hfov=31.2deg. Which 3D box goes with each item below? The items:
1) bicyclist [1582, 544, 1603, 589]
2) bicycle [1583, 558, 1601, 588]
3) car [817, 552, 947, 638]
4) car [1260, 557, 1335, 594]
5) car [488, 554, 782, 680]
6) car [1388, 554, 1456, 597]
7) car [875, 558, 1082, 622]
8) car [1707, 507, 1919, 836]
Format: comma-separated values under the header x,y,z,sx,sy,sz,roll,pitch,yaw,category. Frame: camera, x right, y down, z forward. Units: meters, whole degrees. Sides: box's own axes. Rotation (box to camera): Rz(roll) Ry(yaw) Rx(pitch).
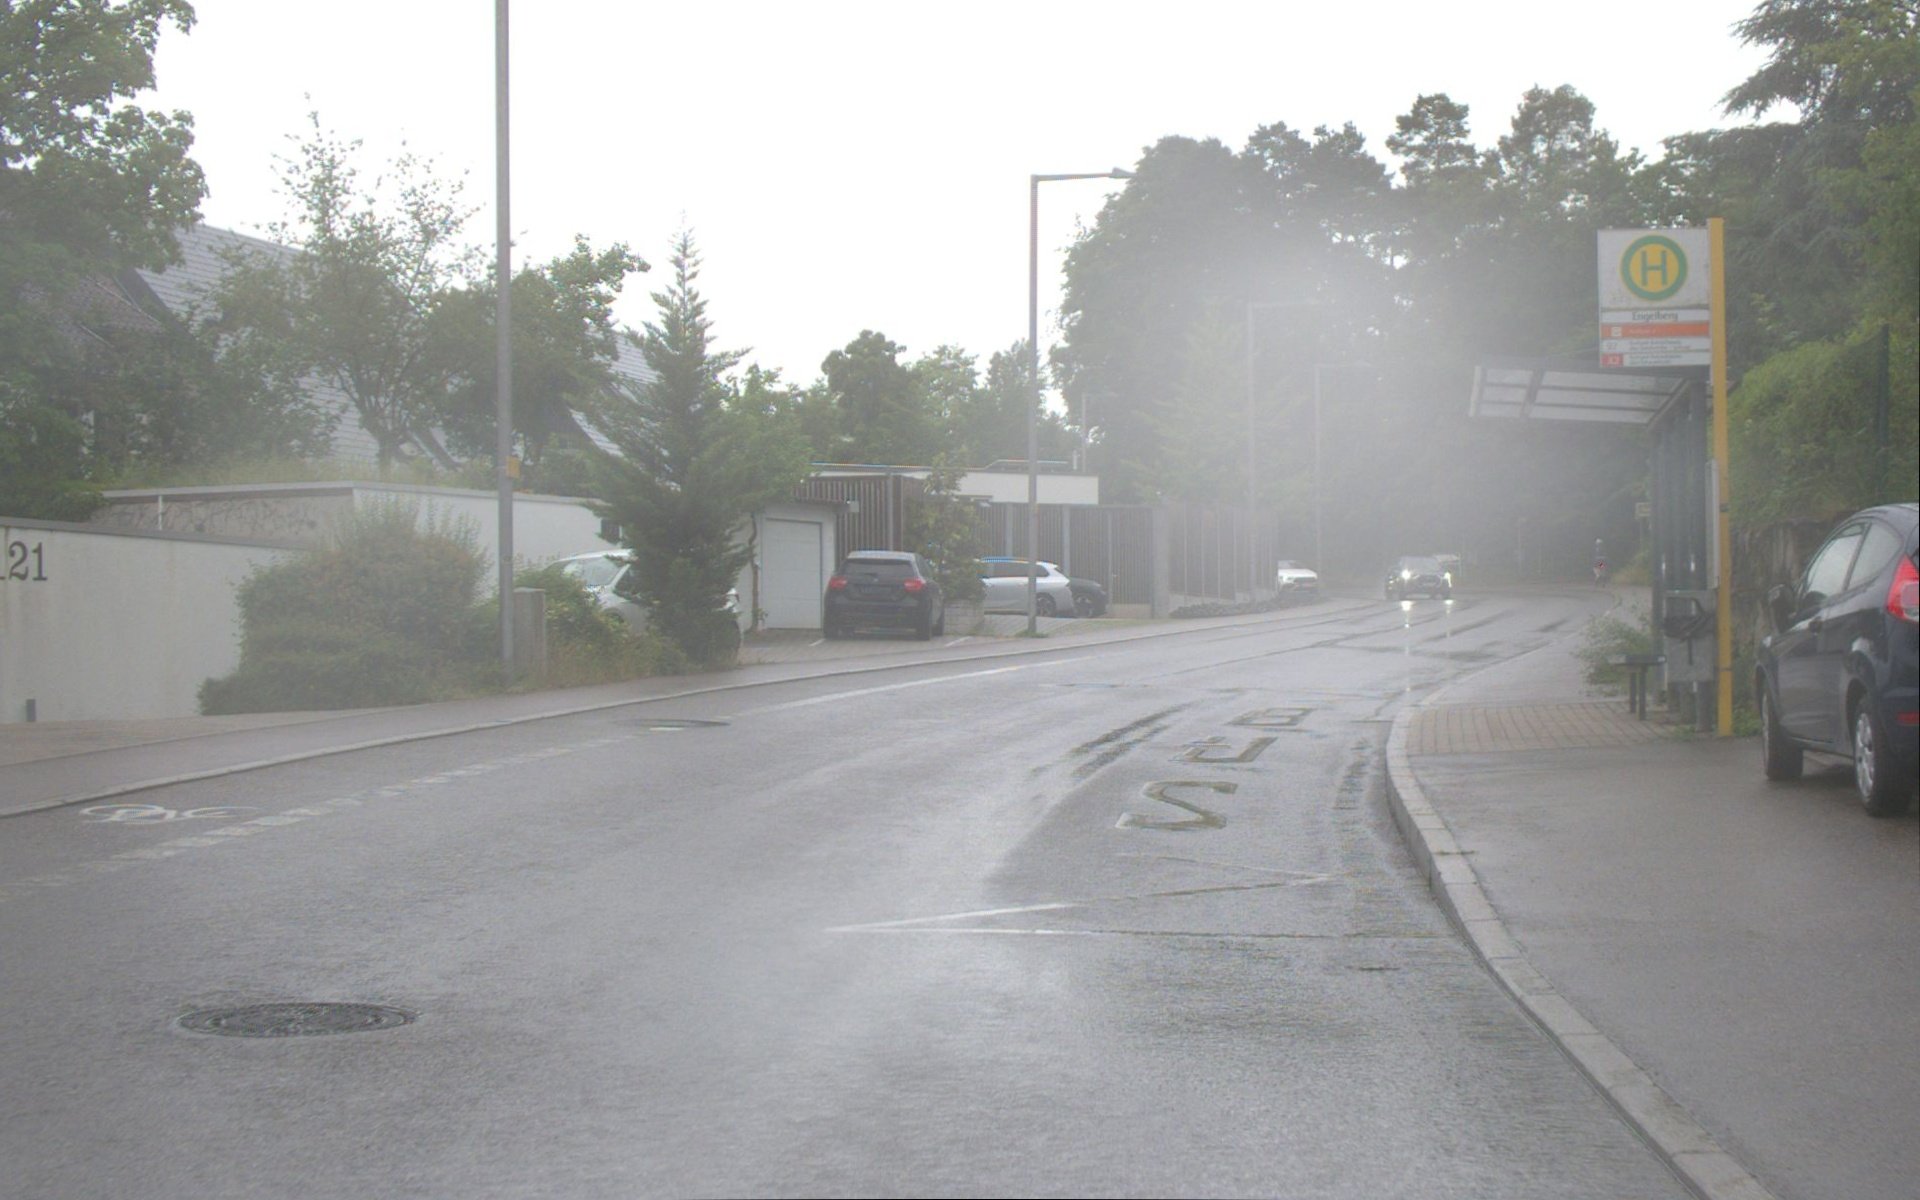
x,y,z,sx,sy,sz,roll,pitch,yaw,category
23.036,-1.221,125.220,0.721,1.609,0.905,1,0,12,bicyclist
23.021,-0.992,125.208,0.527,1.081,1.619,1,0,14,bicycle
-1.279,-0.115,58.348,1.834,1.401,4.259,0,1,4,car
13.442,-0.987,137.151,1.846,1.455,4.269,0,1,-11,car
-4.147,0.179,44.569,1.707,1.548,4.382,0,1,27,car
16.082,-0.871,119.934,1.851,1.464,3.699,0,1,0,car
0.445,-0.240,80.487,4.518,1.437,1.761,1,0,-26,car
4.968,0.260,17.271,1.705,1.449,4.020,-3,0,3,car
